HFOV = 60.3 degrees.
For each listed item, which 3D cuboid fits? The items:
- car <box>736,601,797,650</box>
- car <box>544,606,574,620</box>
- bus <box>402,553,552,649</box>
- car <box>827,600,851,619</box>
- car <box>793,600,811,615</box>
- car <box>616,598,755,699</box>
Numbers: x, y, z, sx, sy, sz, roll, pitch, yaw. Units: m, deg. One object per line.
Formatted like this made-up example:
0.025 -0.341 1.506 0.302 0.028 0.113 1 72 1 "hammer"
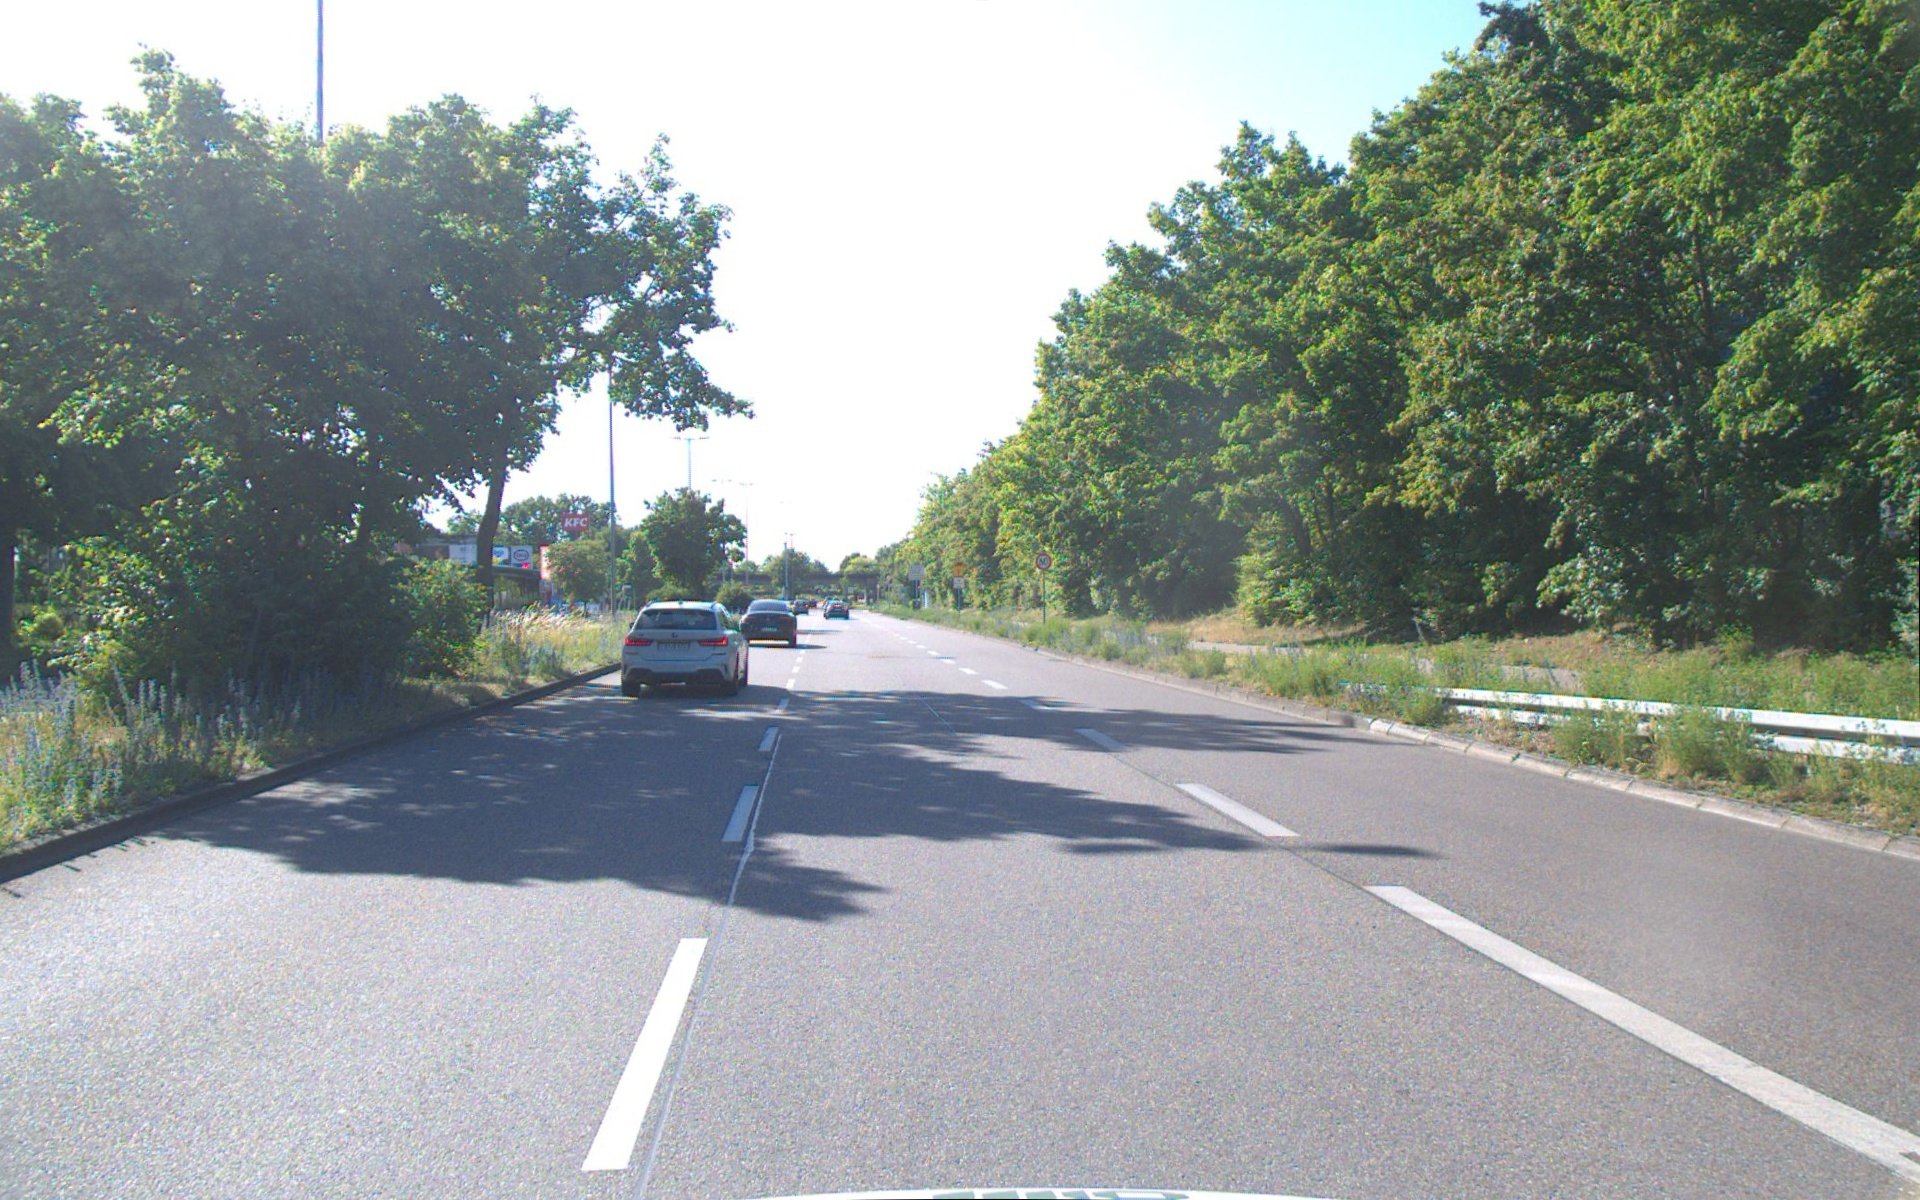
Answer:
-6.211 0.790 53.435 1.825 1.480 4.542 -1 0 -5 "car"
-51.962 1.660 214.369 4.013 1.814 1.916 -1 0 41 "car"
-16.161 0.001 56.223 2.669 2.768 11.075 -3 1 -5 "bus"
-9.910 0.745 135.210 1.825 1.525 4.332 -1 0 -5 "car"
-17.000 0.790 177.826 1.825 1.592 4.542 0 0 -5 "car"
-4.386 0.724 27.026 1.825 1.480 4.543 1 0 -4 "car"
